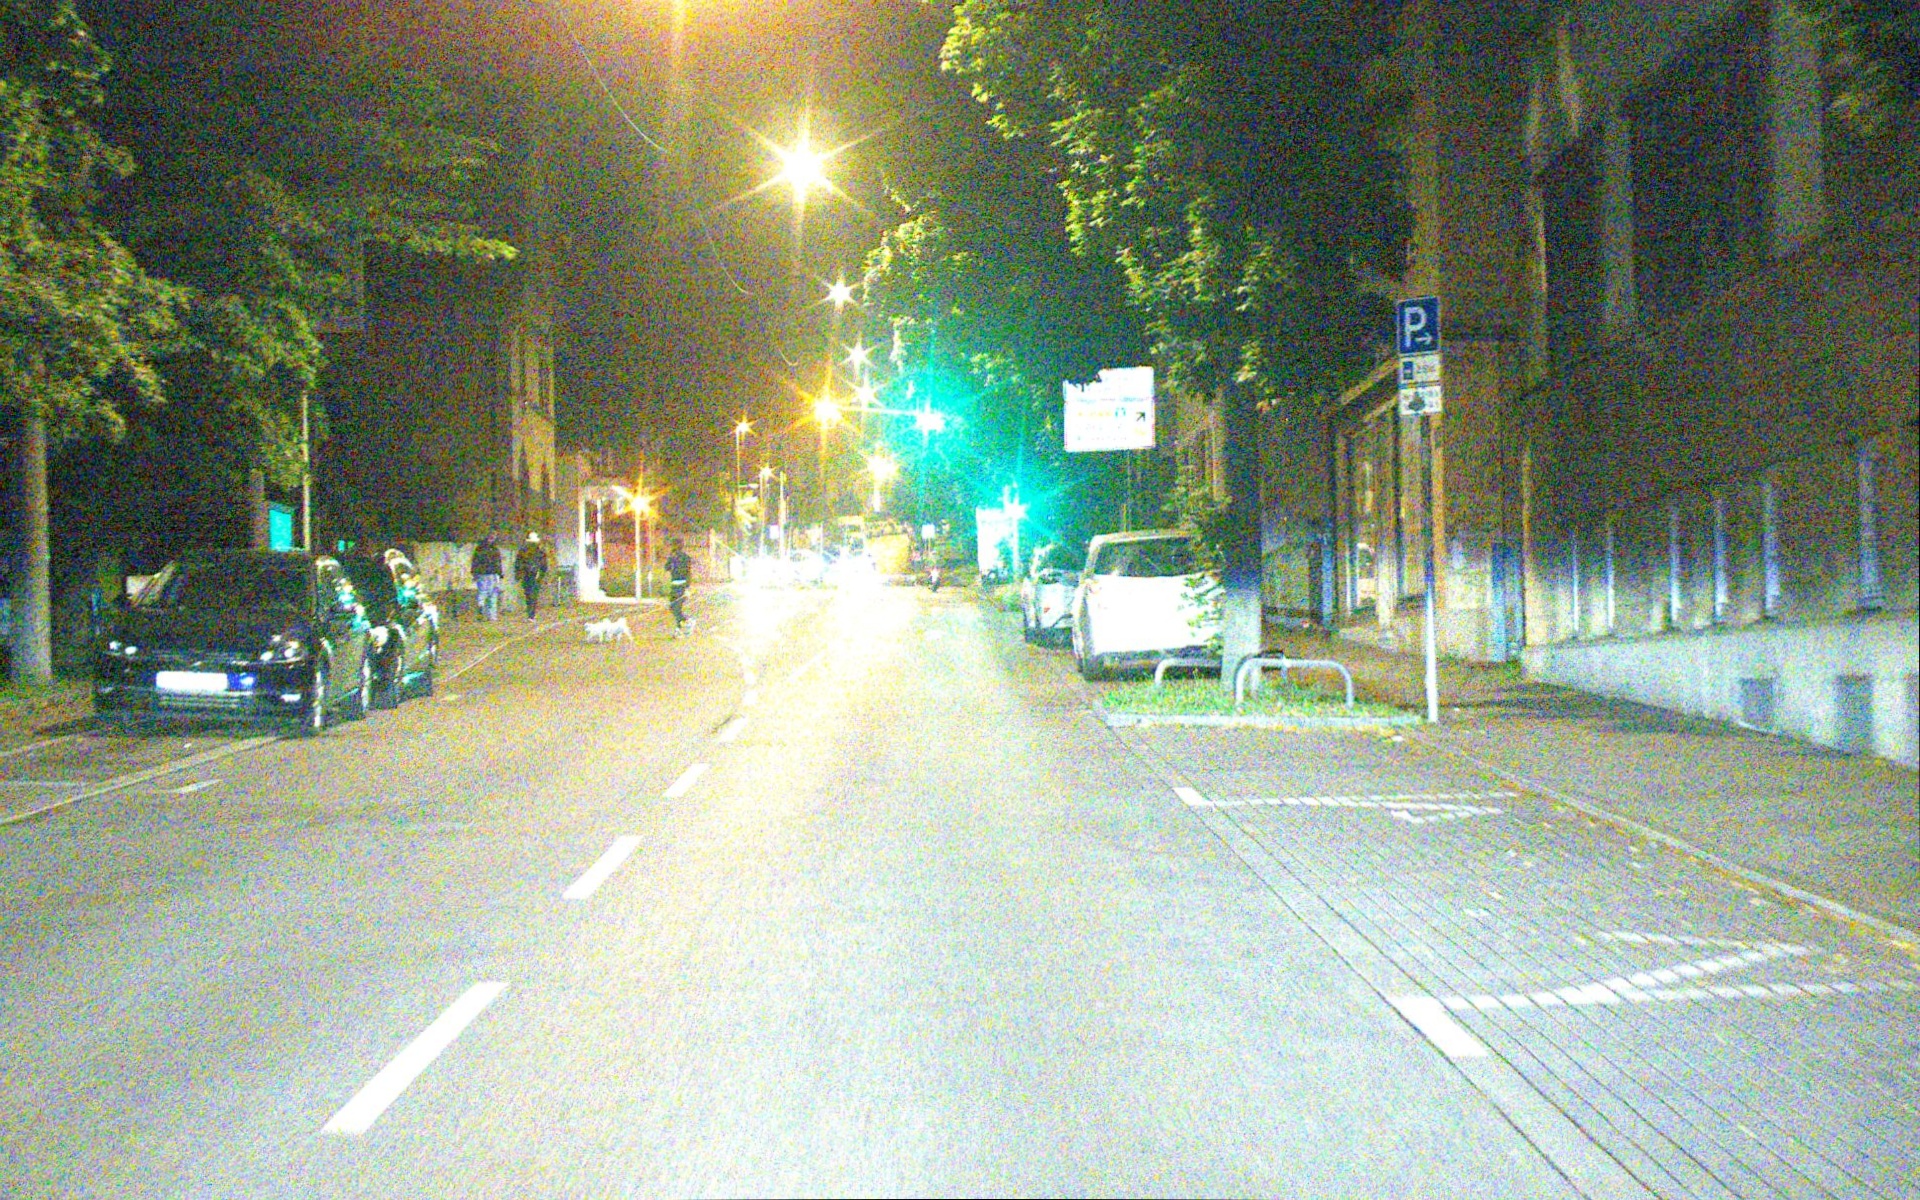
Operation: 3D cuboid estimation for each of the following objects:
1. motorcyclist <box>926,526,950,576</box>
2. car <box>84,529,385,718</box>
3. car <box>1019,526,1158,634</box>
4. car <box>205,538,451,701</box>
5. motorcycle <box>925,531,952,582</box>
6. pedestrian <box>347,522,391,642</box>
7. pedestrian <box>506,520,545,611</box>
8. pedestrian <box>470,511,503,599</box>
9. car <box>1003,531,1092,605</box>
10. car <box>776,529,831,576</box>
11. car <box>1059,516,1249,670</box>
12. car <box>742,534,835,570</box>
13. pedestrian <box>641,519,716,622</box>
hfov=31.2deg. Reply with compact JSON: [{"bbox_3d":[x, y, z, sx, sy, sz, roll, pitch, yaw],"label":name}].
[{"bbox_3d":[-0.771,-1.732,121.108,0.848,1.746,0.805,1,0,0],"label":"motorcyclist"},{"bbox_3d":[-5.950,0.148,28.625,1.721,1.432,4.191,1,1,-2],"label":"car"},{"bbox_3d":[1.907,-0.338,52.134,1.868,1.521,4.150,-2,1,-1],"label":"car"},{"bbox_3d":[-6.151,0.136,33.948,1.721,1.432,4.811,1,2,-2],"label":"car"},{"bbox_3d":[-0.770,-1.516,121.106,0.931,1.746,2.625,1,0,0],"label":"motorcycle"},{"bbox_3d":[-8.377,-0.254,48.750,0.580,1.694,0.531,1,0,-9],"label":"pedestrian"},{"bbox_3d":[-8.437,-0.665,66.739,0.718,1.759,0.603,1,0,-9],"label":"pedestrian"},{"bbox_3d":[-9.159,-0.867,66.497,0.569,1.694,0.930,1,0,-10],"label":"pedestrian"},{"bbox_3d":[1.799,-0.675,71.711,1.629,1.491,3.415,1,1,-2],"label":"car"},{"bbox_3d":[-5.905,-1.777,130.092,1.944,1.711,4.000,1,0,-1],"label":"car"},{"bbox_3d":[2.134,-0.124,38.875,1.812,1.588,4.274,-2,1,-1],"label":"car"},{"bbox_3d":[-7.351,-2.056,147.481,1.719,1.452,3.912,0,0,43],"label":"car"},{"bbox_3d":[-4.751,-0.495,58.076,0.766,1.694,0.925,3,1,36],"label":"pedestrian"}]
